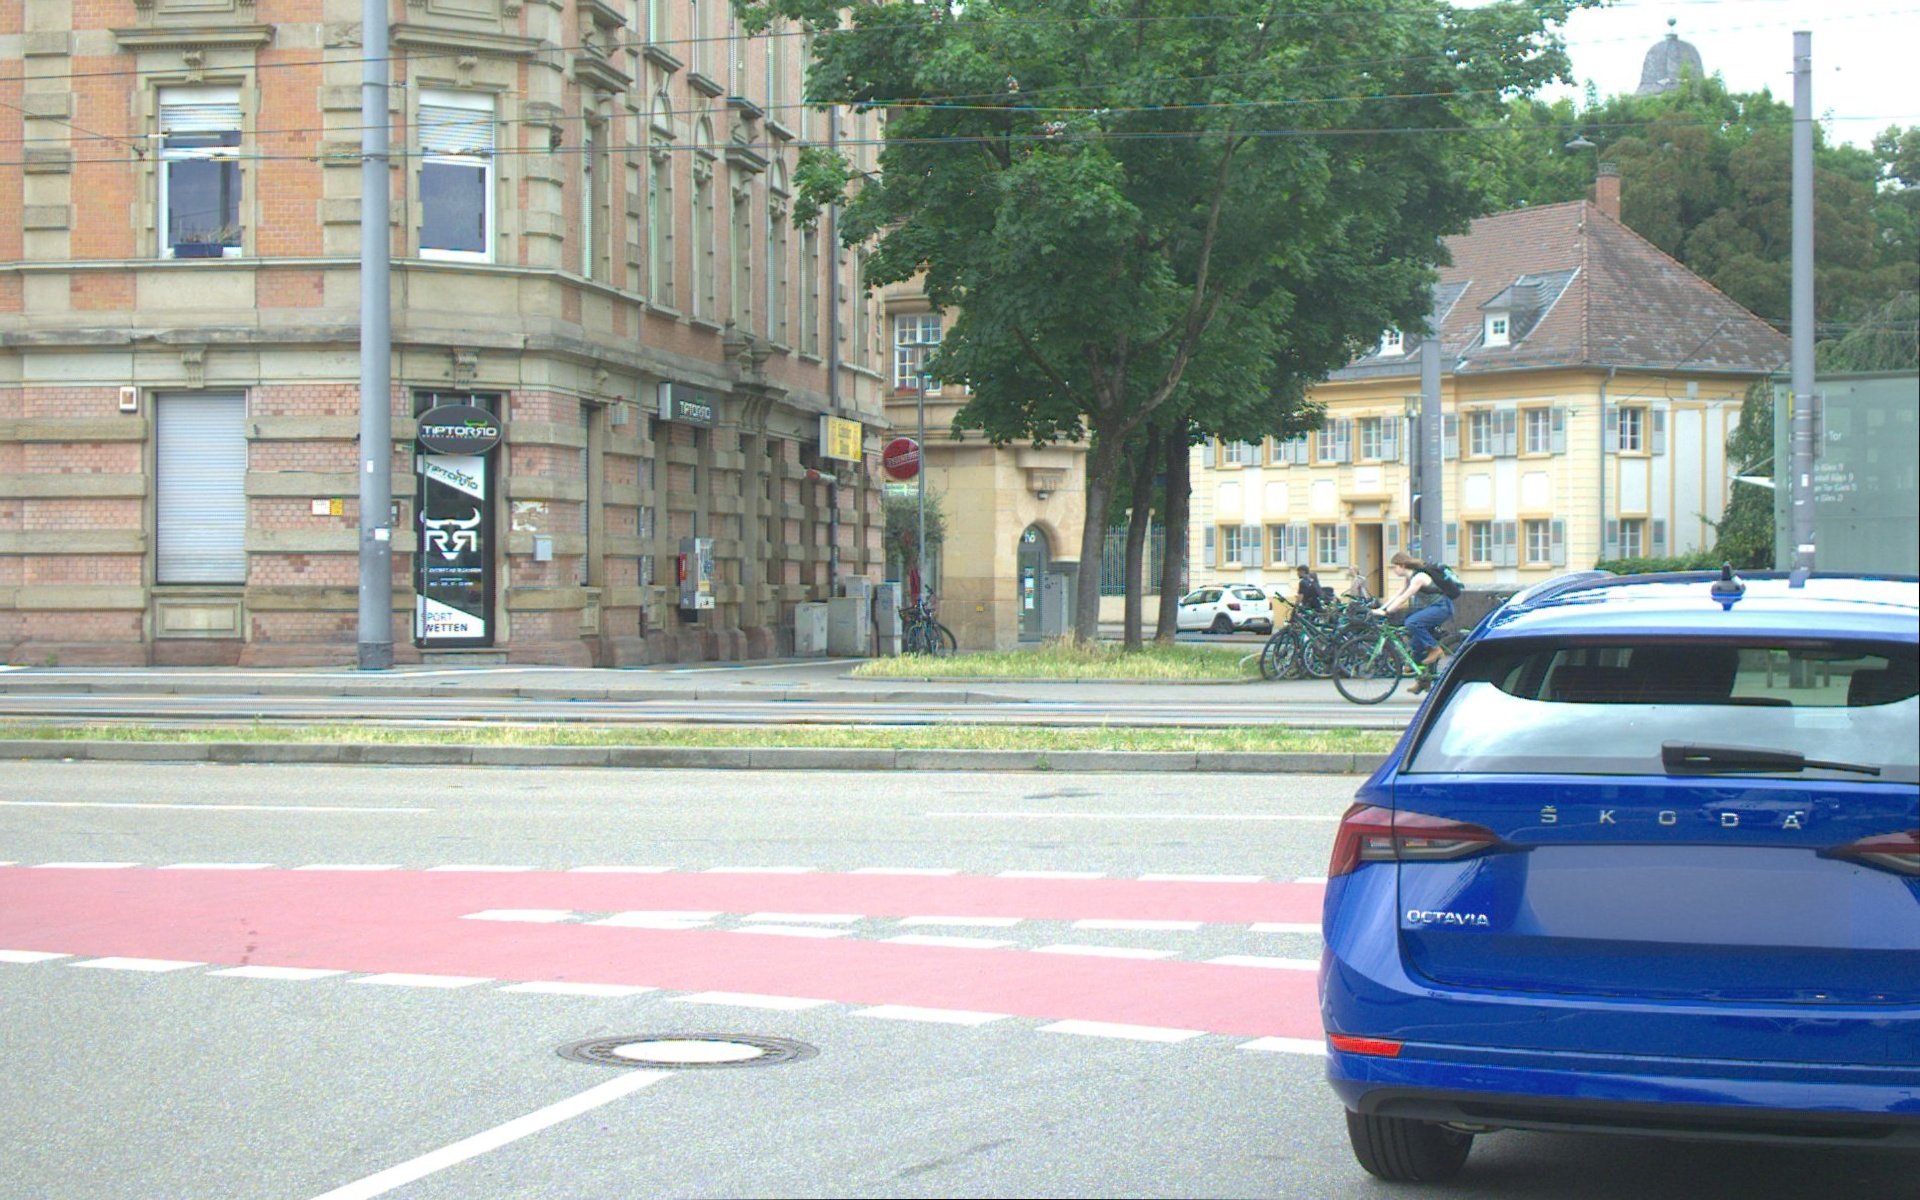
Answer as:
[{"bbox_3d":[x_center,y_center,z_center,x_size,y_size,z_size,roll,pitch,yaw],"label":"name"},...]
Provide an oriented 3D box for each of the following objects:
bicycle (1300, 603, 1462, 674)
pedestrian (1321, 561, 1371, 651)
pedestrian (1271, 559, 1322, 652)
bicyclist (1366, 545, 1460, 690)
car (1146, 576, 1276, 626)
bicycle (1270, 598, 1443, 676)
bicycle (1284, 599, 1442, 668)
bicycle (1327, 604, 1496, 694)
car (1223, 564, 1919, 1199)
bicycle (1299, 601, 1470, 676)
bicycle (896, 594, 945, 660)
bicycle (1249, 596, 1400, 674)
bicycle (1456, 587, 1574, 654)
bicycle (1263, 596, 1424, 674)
[{"bbox_3d":[5.994,0.542,48.926,2.215,0.983,0.584,0,1,20],"label":"bicycle"},{"bbox_3d":[7.474,0.107,66.520,0.845,1.717,0.952,0,1,13],"label":"pedestrian"},{"bbox_3d":[6.263,0.103,63.956,0.845,1.717,0.952,0,1,13],"label":"pedestrian"},{"bbox_3d":[4.678,0.176,35.539,0.939,1.489,0.663,0,1,6],"label":"bicyclist"},{"bbox_3d":[7.505,0.024,103.158,1.691,1.444,4.187,-1,1,-33],"label":"car"},{"bbox_3d":[5.223,0.482,45.352,2.215,1.002,0.480,0,1,20],"label":"bicycle"},{"bbox_3d":[5.873,0.481,50.154,2.215,0.983,0.584,0,1,20],"label":"bicycle"},{"bbox_3d":[4.655,0.504,35.534,1.714,0.912,0.607,0,1,6],"label":"bicycle"},{"bbox_3d":[2.209,0.668,8.908,1.781,1.483,4.460,1,0,22],"label":"car"},{"bbox_3d":[5.675,0.509,46.016,2.215,0.983,0.499,0,1,20],"label":"bicycle"},{"bbox_3d":[-0.585,0.381,50.023,0.660,0.911,1.990,0,1,-2],"label":"bicycle"},{"bbox_3d":[4.682,0.441,44.140,1.865,0.983,0.499,0,0,18],"label":"bicycle"},{"bbox_3d":[9.541,0.348,59.234,0.738,1.111,2.363,0,1,-28],"label":"bicycle"},{"bbox_3d":[4.998,0.448,44.832,2.033,0.983,0.521,0,1,20],"label":"bicycle"}]
